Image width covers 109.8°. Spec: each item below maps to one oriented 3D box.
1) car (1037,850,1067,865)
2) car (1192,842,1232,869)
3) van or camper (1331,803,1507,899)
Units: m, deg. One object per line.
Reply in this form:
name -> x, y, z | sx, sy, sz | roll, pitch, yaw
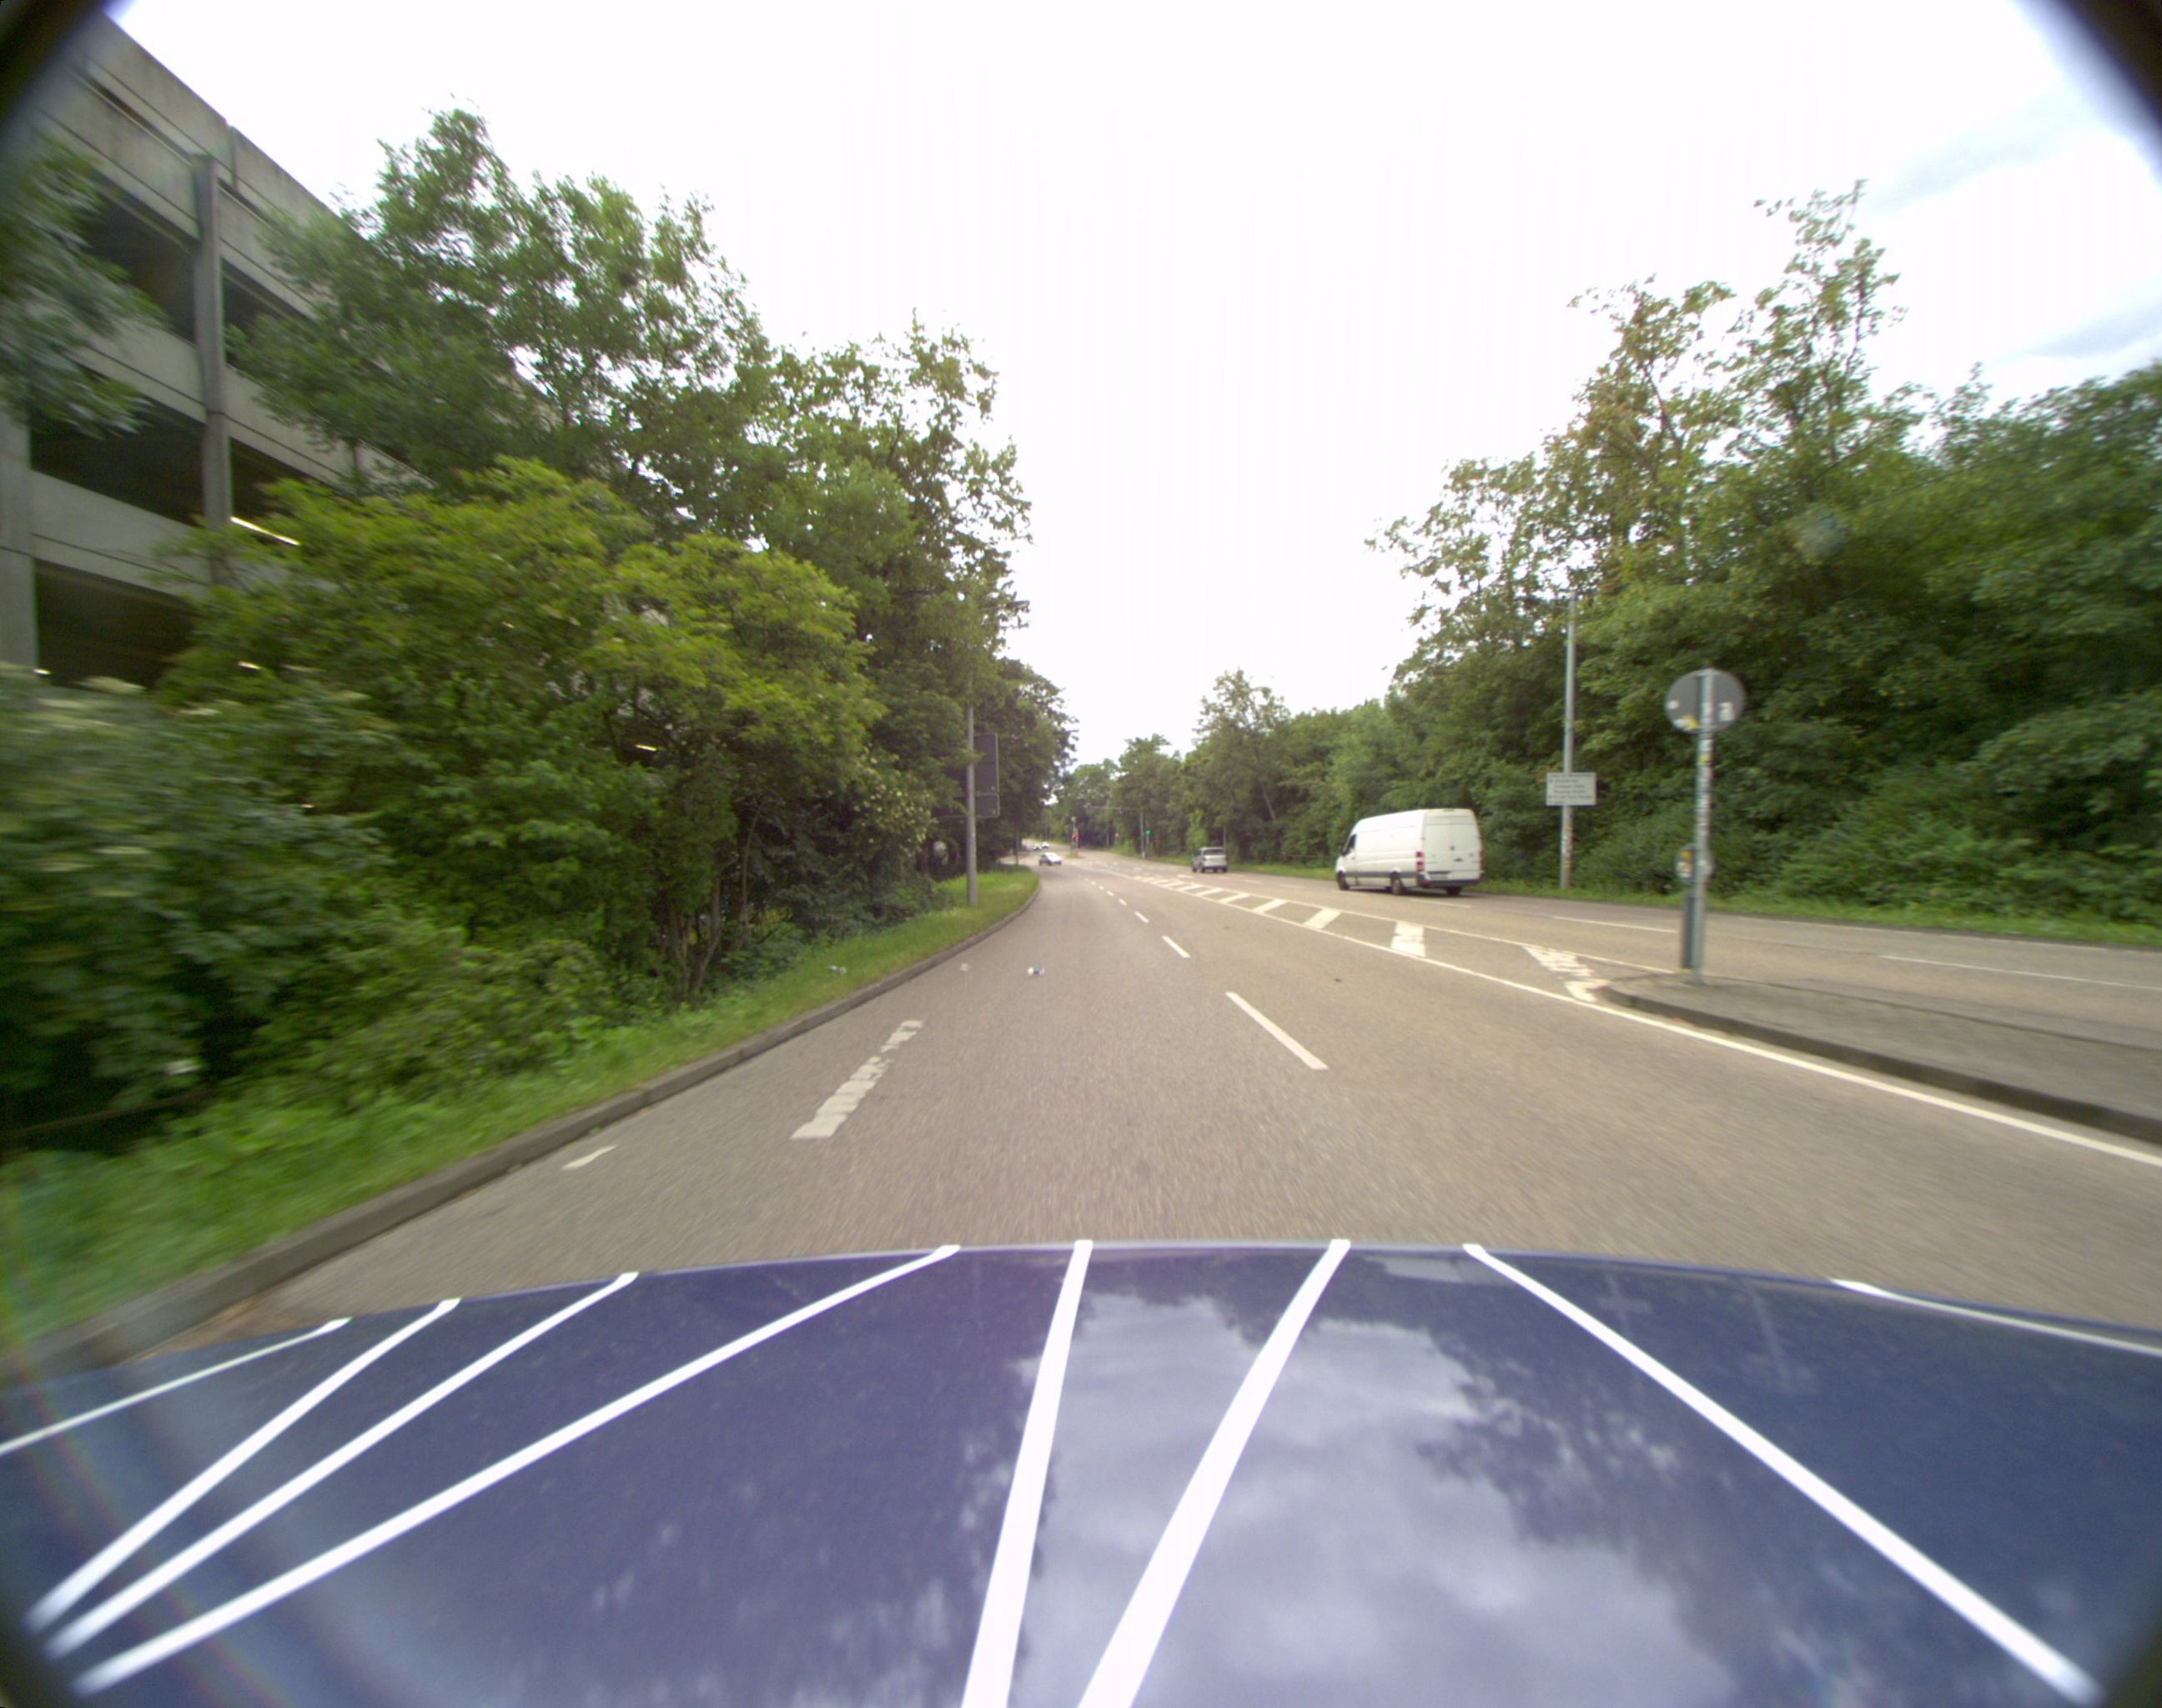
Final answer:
car -> -3.500, 0.453, 91.501 | 1.858, 1.471, 4.501 | -5, 1, -26
car -> 9.194, 0.146, 53.717 | 1.818, 1.819, 4.382 | -1, 0, -4
van or camper -> 10.712, -0.086, 24.947 | 2.289, 2.540, 6.857 | -5, 0, -3
